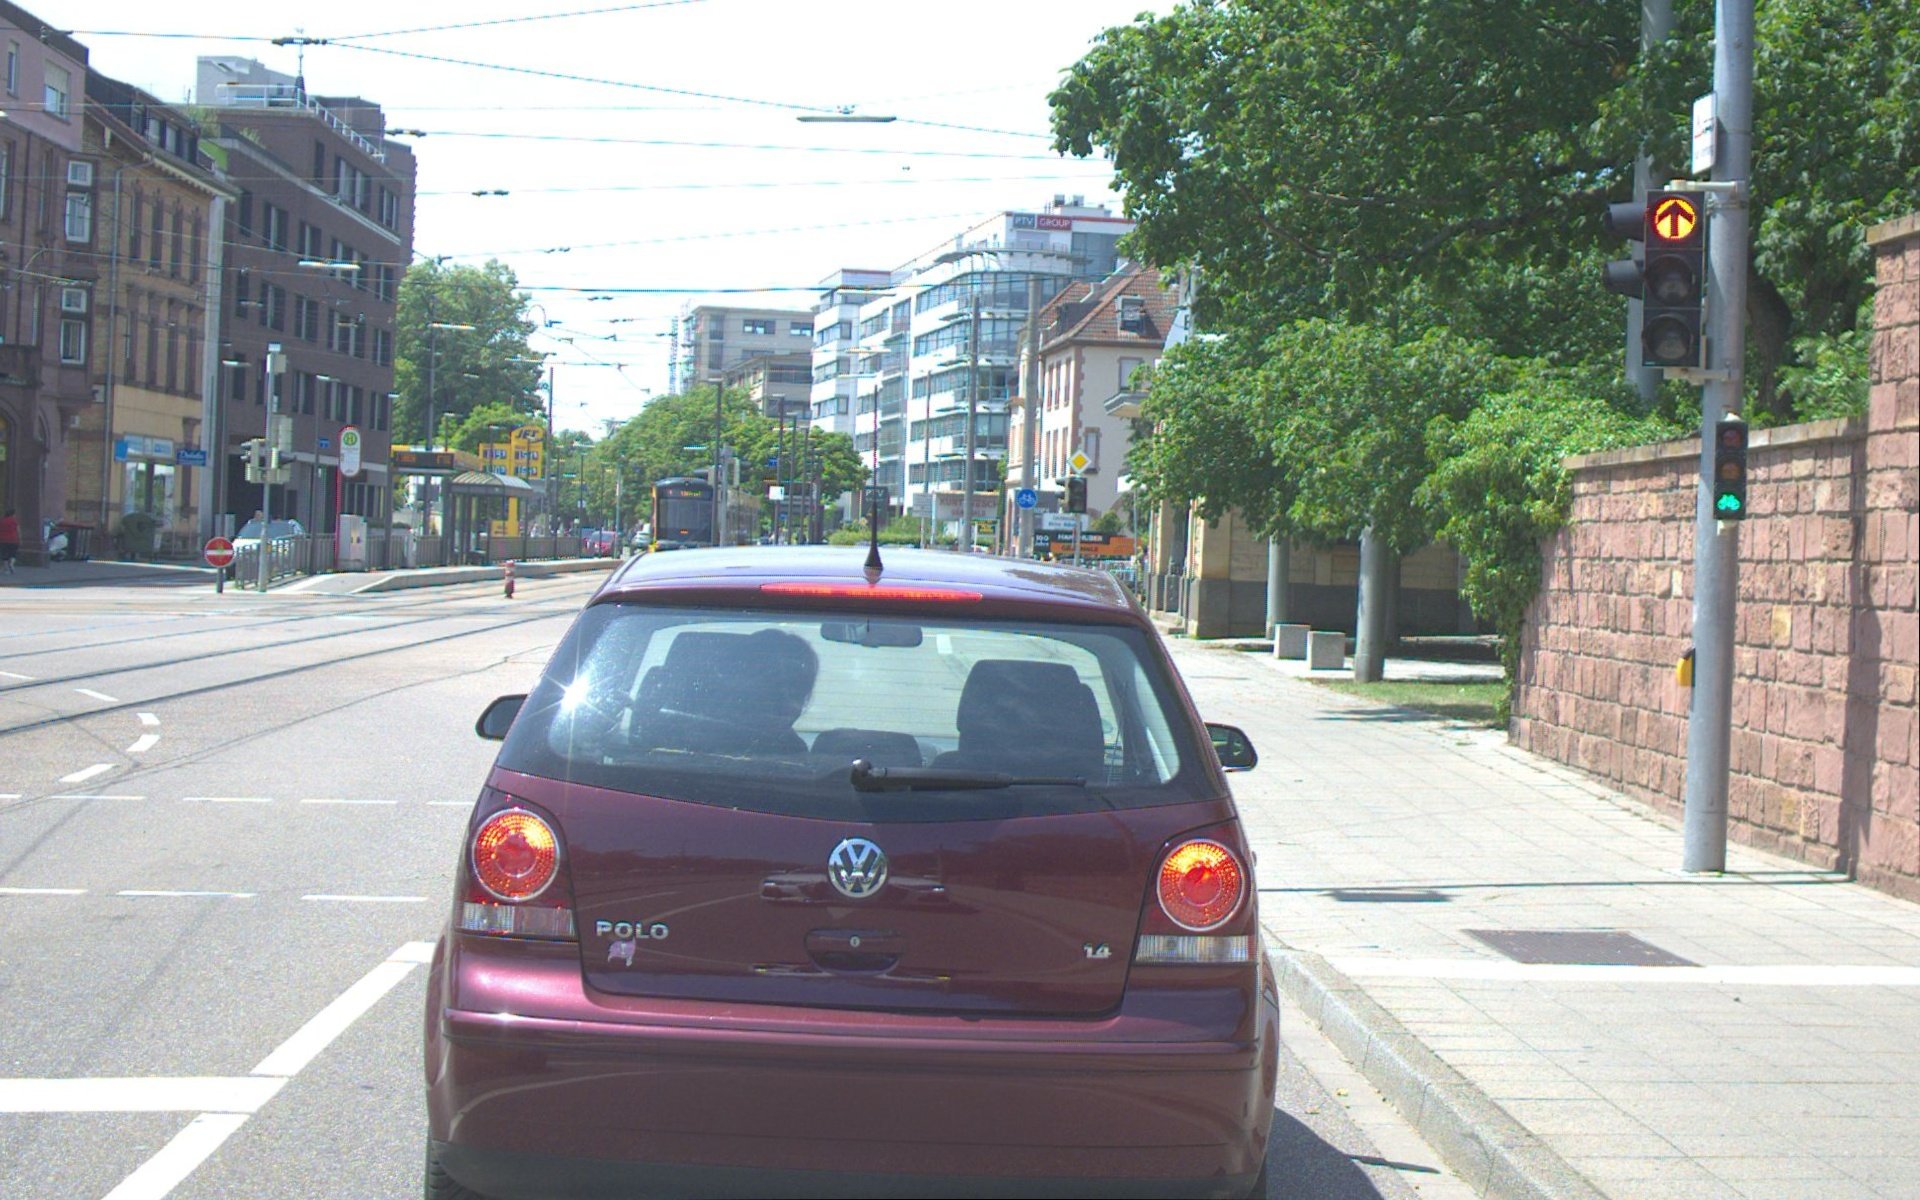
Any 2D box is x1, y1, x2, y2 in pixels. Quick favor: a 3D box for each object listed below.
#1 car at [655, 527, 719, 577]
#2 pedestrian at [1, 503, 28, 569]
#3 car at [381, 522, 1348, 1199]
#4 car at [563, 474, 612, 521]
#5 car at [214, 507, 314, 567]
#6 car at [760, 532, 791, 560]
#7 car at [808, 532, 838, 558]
[{"bbox_3d":[-9.255,-1.631,116.815,1.938,1.635,4.000,1,0,-1],"label":"car"},{"bbox_3d":[-22.085,-1.494,80.307,0.483,1.535,0.538,1,0,-4],"label":"pedestrian"},{"bbox_3d":[-0.229,0.590,7.926,1.610,1.458,4.086,2,1,-2],"label":"car"},{"bbox_3d":[-16.677,-4.586,154.082,1.735,2.007,4.000,2,1,-1],"label":"car"},{"bbox_3d":[-17.960,-1.629,88.908,1.689,1.457,4.000,2,1,1],"label":"car"},{"bbox_3d":[-11.055,-3.253,206.168,1.780,1.603,4.152,1,1,-2],"label":"car"},{"bbox_3d":[-7.315,-2.937,183.695,1.572,1.411,3.720,0,1,-1],"label":"car"}]
